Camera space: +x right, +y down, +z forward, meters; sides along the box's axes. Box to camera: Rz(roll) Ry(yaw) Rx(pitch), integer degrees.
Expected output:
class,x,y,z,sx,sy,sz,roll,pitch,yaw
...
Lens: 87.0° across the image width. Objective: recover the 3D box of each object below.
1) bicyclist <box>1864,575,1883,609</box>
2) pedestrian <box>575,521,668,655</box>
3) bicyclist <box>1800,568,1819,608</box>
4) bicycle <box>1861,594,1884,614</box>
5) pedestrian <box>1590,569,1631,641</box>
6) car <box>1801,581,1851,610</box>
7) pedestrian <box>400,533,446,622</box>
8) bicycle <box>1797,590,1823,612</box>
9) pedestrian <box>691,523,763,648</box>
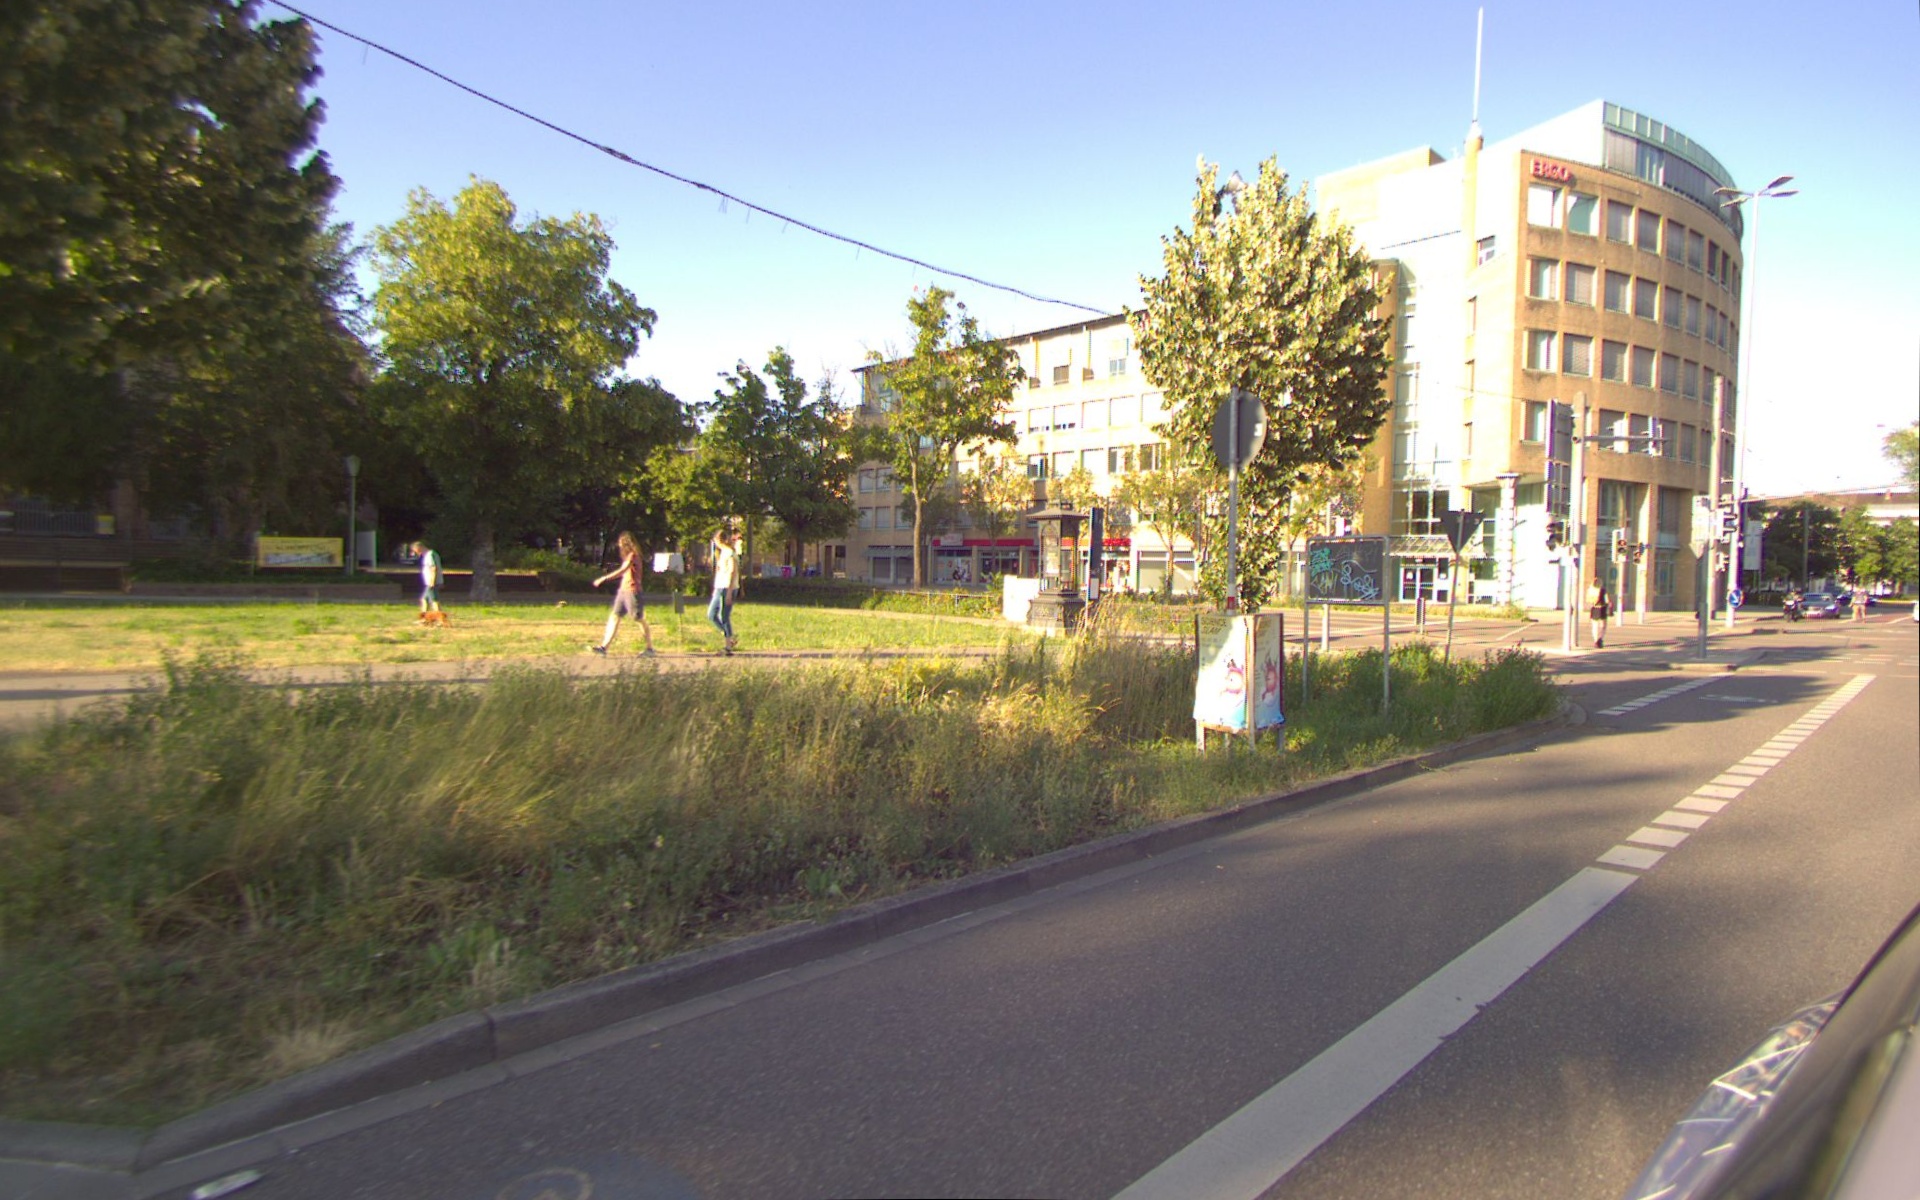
class,x,y,z,sx,sy,sz,roll,pitch,yaw
bicyclist,44.137,-0.374,48.903,0.817,1.630,0.551,0,2,-41
pedestrian,-4.431,-0.168,13.247,0.899,1.669,0.741,1,4,-40
bicyclist,41.685,-0.575,49.659,0.685,1.963,0.577,0,0,-41
bicycle,44.089,0.181,48.883,1.746,0.940,0.608,0,2,-41
pedestrian,16.297,0.113,25.356,0.702,1.746,0.651,0,2,-41
car,47.461,-0.272,55.425,3.949,1.491,1.766,-1,1,-45
pedestrian,-10.898,-0.464,20.542,0.630,1.760,0.597,1,1,-5
bicycle,41.762,0.061,49.718,1.944,1.063,0.699,0,0,-41
pedestrian,-3.309,-0.218,14.368,0.768,1.709,0.599,1,3,-40
